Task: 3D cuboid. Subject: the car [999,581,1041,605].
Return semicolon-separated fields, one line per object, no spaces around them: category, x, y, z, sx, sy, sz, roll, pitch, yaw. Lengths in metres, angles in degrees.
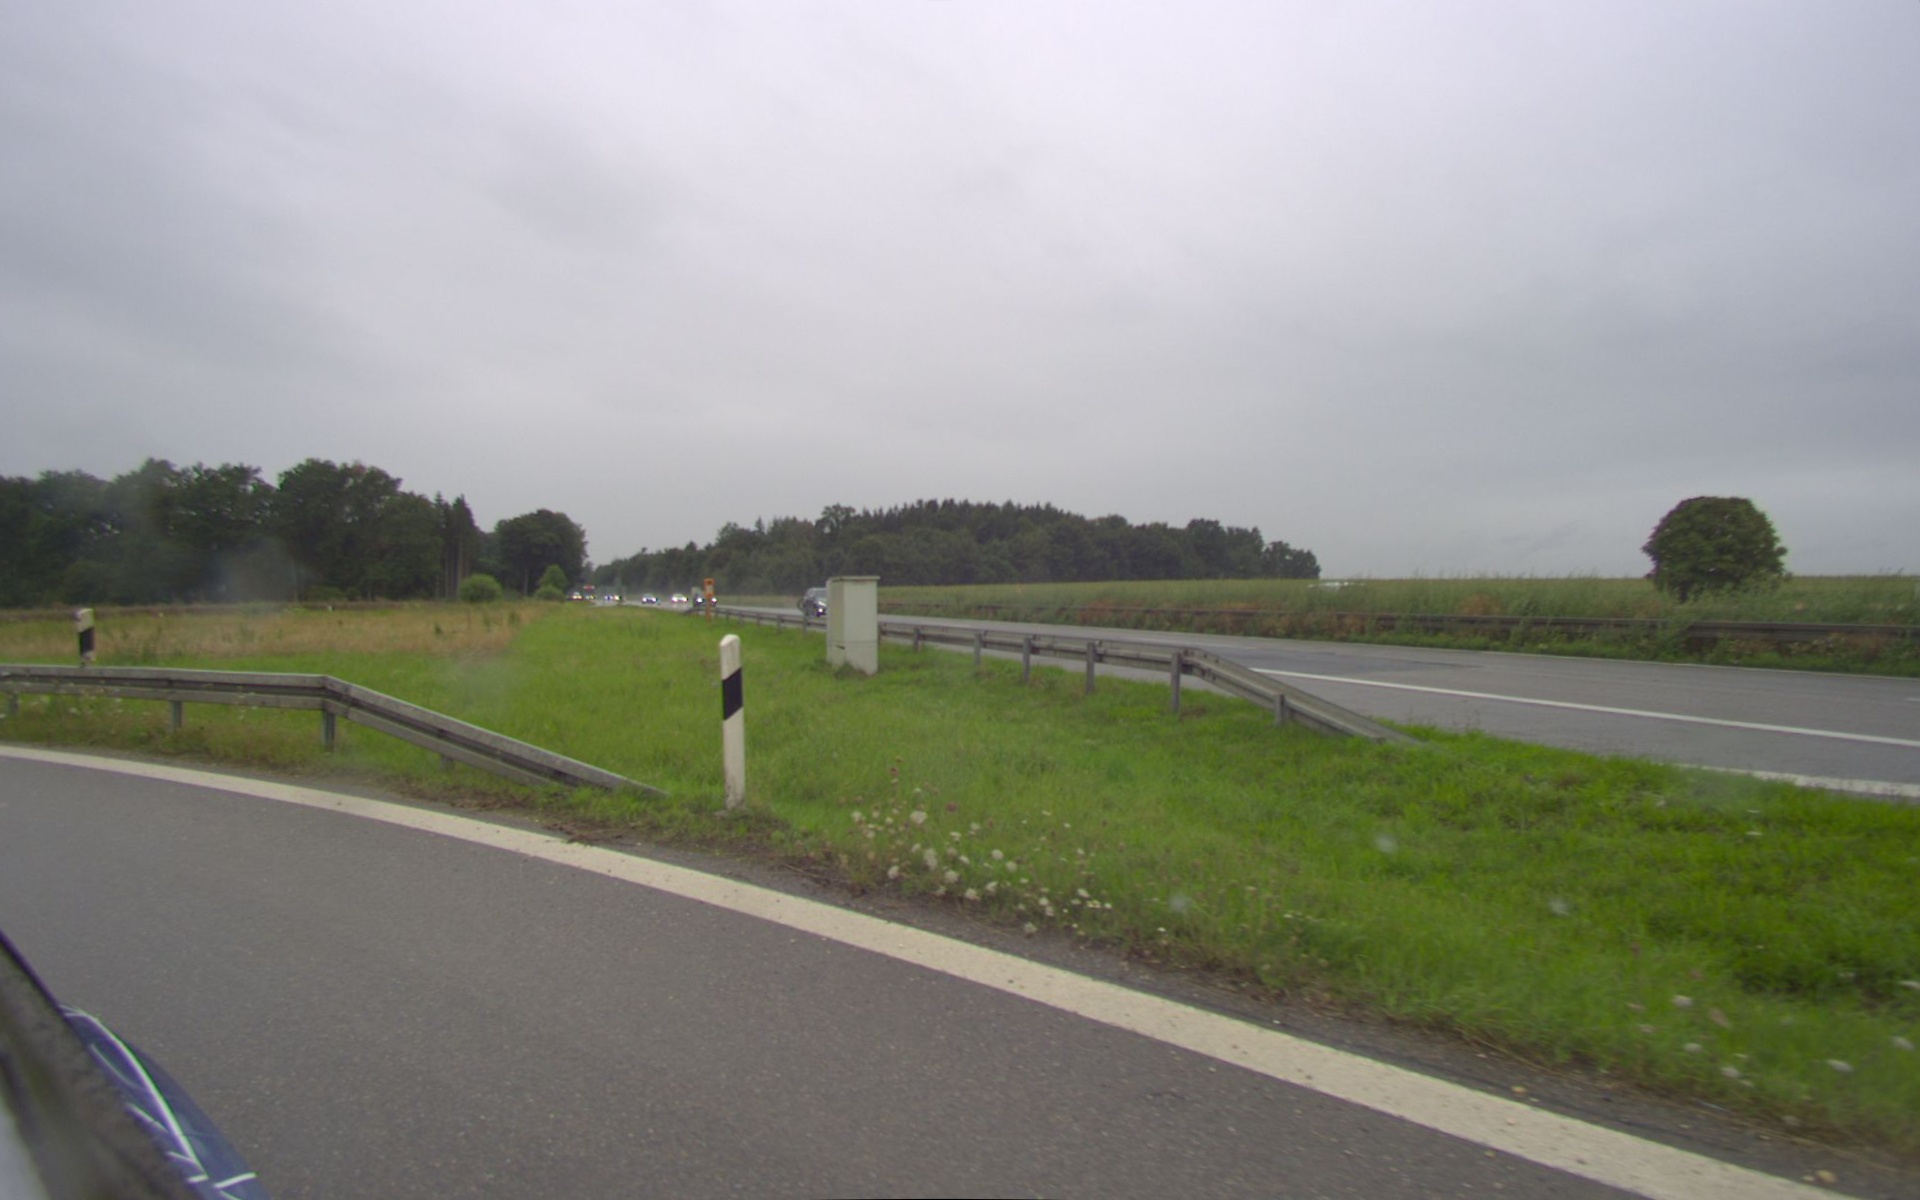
car;4.805;-0.543;81.409;1.705;1.750;4.013;-2;0;-24

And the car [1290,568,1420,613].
car;14.863;-0.356;38.365;2.075;1.551;4.546;-2;1;-21

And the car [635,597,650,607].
car;-49.403;0.298;157.451;2.115;1.648;4.610;0;0;-20

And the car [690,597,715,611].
car;-26.245;0.407;103.098;2.064;1.465;4.610;0;0;-20

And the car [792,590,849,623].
car;-7.638;0.332;54.886;1.836;1.646;5.118;-1;0;-22
